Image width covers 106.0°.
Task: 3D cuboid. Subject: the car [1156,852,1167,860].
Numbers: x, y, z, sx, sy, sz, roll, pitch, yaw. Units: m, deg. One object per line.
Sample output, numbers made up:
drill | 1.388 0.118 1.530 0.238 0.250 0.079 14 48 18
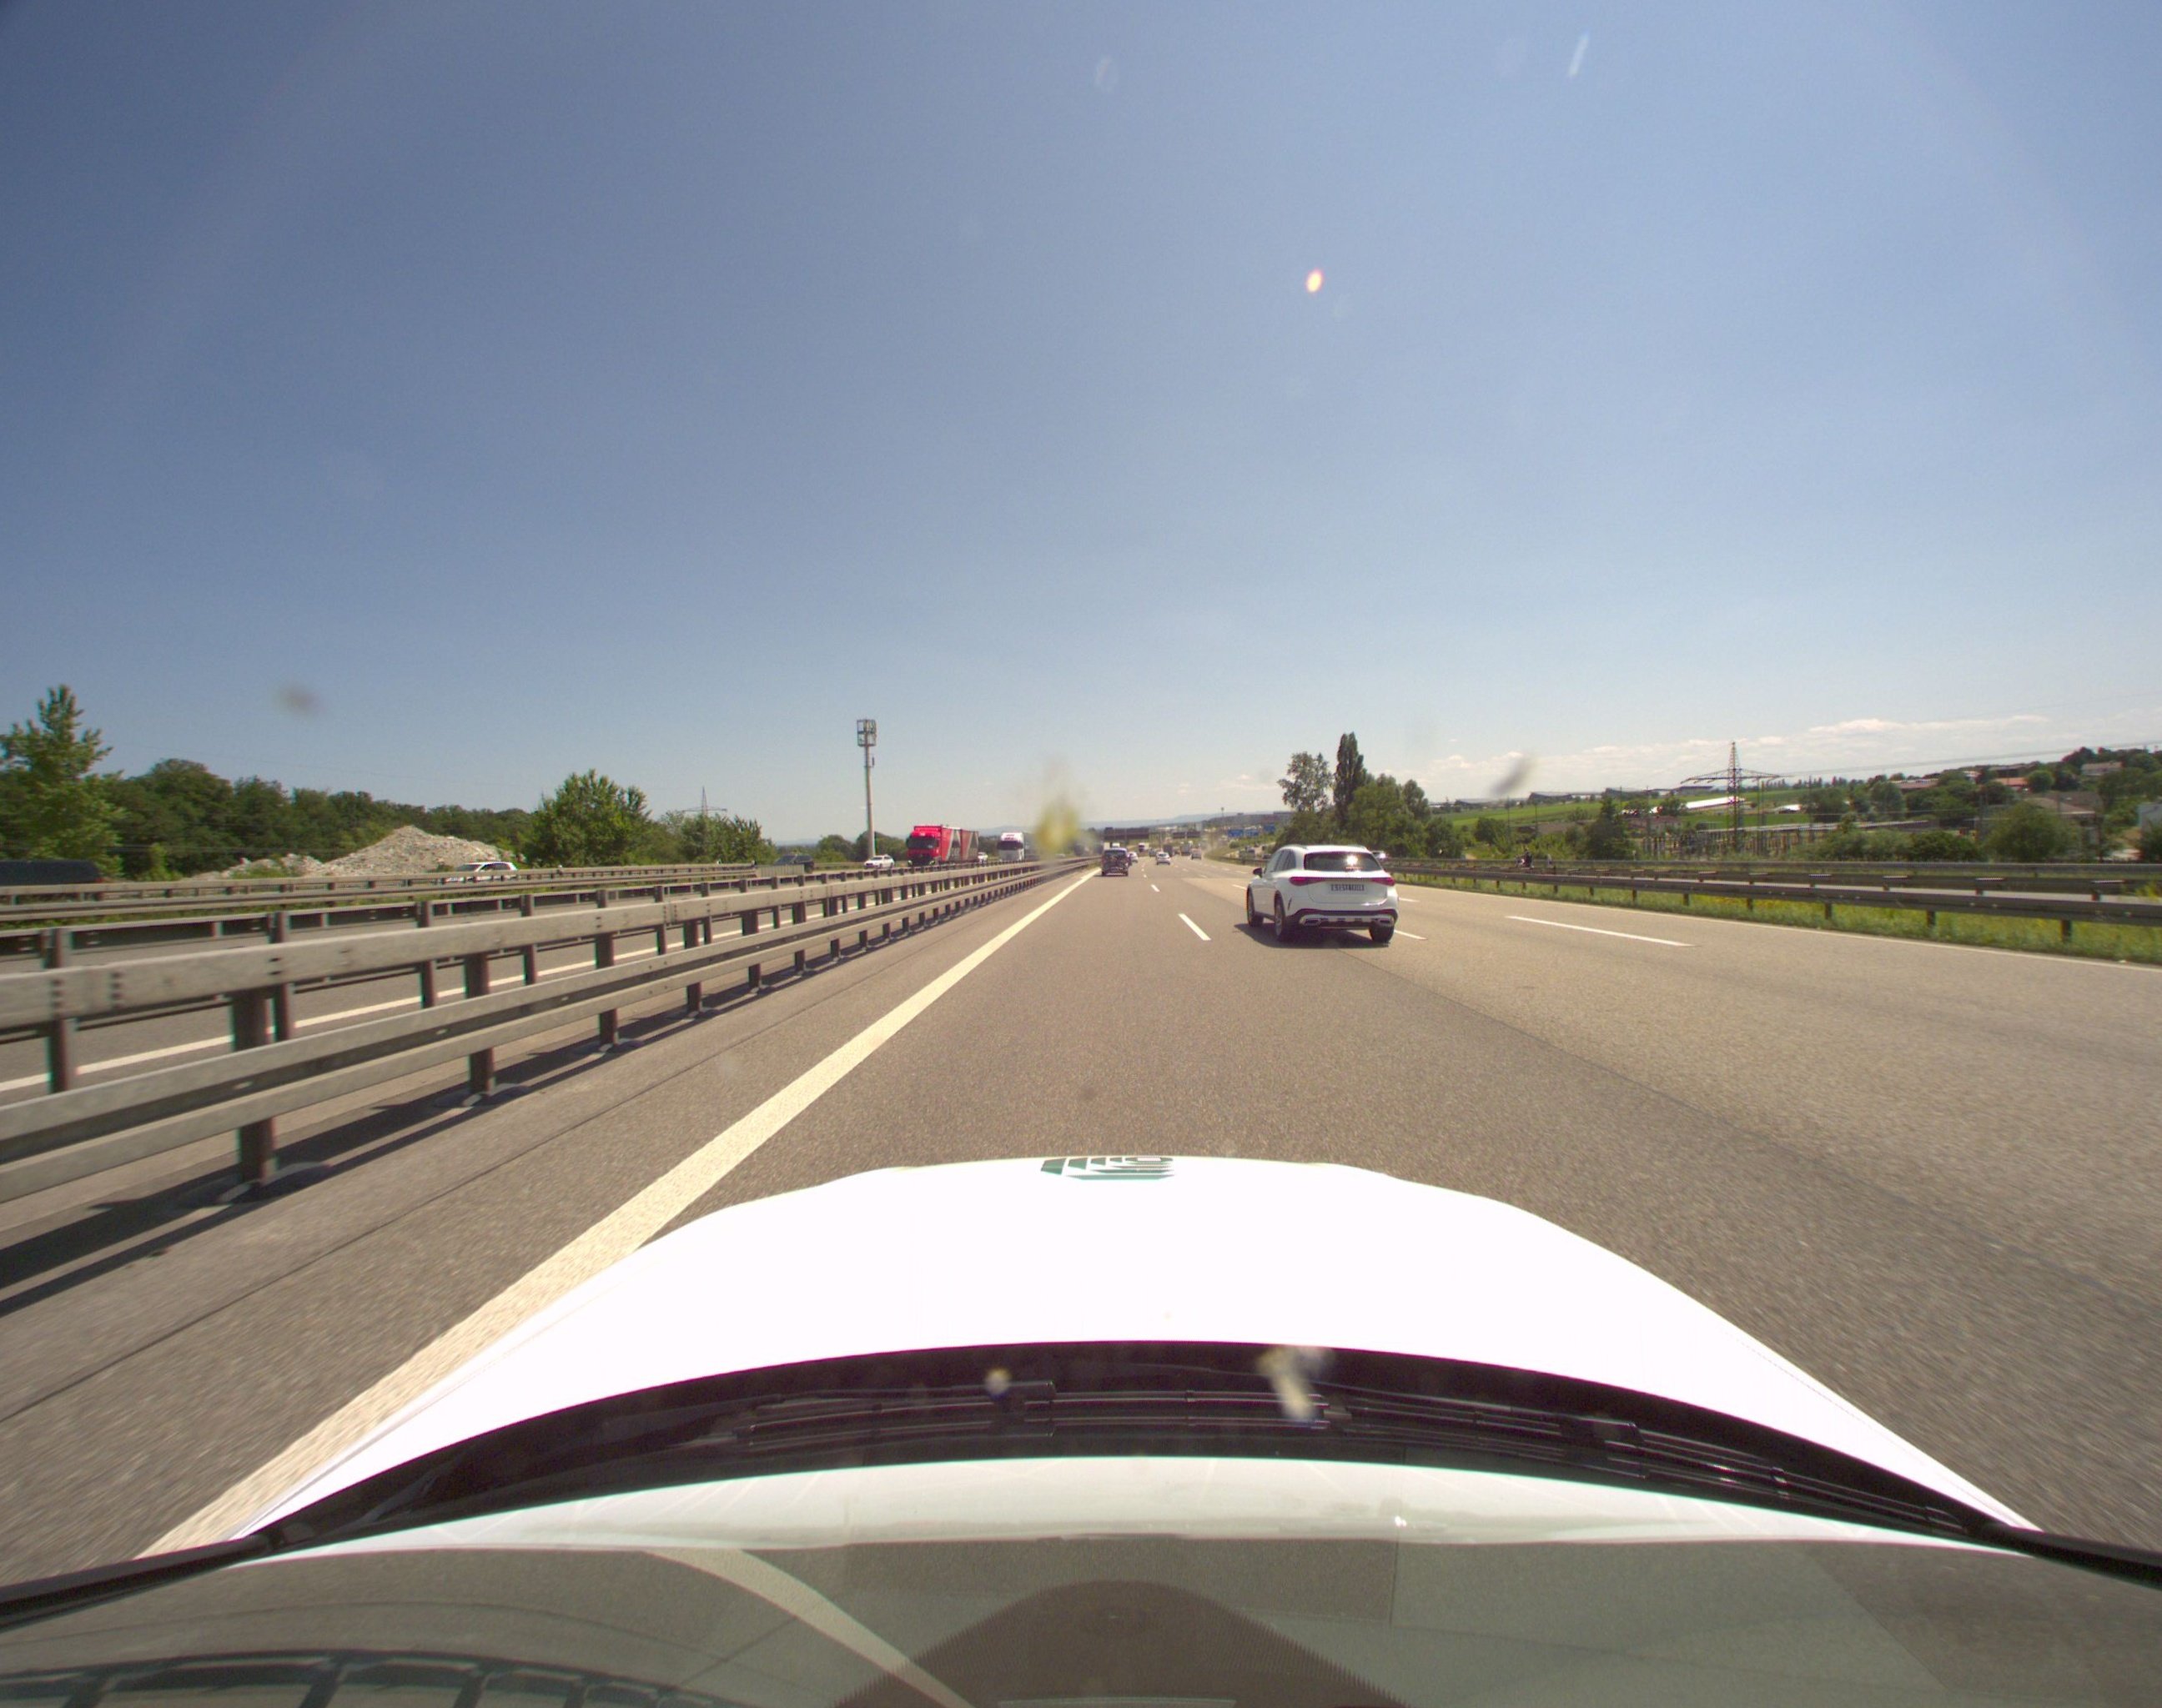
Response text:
car | 15.275 0.358 154.060 1.972 1.473 4.006 -1 0 5

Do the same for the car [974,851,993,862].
car | -15.747 0.413 131.670 1.667 1.613 4.417 -1 0 12

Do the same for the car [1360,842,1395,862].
car | 25.091 -0.166 69.010 1.692 1.575 4.131 0 0 3

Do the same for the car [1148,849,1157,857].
car | 19.496 -0.234 221.941 2.174 2.003 4.009 0 0 8

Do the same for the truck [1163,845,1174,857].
truck | 23.110 -0.841 214.921 2.688 3.108 10.679 0 0 7

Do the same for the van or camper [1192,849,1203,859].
van or camper | 23.217 0.007 162.466 2.145 2.013 4.312 0 0 7

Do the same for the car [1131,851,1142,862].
car | 8.245 0.319 121.010 1.569 1.552 3.967 0 0 3

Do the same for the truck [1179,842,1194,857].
truck | 32.817 -1.558 253.584 4.014 4.261 11.794 -1 2 10

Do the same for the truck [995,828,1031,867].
truck | -7.816 -0.754 94.648 2.913 4.344 6.926 0 0 6

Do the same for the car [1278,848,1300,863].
car | 27.537 0.239 107.926 1.932 1.923 4.179 0 0 1

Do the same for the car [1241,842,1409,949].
car | 4.240 0.641 15.008 1.890 1.647 5.003 0 0 4

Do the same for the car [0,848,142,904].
car | -33.899 0.679 26.523 1.860 1.744 4.005 0 0 5

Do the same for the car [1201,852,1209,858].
car | 34.867 0.395 229.139 1.985 1.690 4.003 0 0 3

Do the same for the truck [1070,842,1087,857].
truck | -0.550 -1.152 208.796 3.204 3.785 12.918 0 0 5

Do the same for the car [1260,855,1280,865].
car | 30.089 0.907 129.899 1.990 1.596 3.993 0 0 -5

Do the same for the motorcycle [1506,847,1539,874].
motorcycle | 23.022 0.313 42.503 0.757 1.366 1.870 0 0 1

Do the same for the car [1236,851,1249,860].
car | 35.027 0.353 176.862 1.986 2.013 4.001 0 0 1

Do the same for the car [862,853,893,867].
car | -22.609 0.641 90.512 2.082 1.581 4.005 0 0 5

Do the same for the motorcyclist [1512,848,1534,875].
motorcyclist | 23.038 0.375 42.435 0.666 1.366 0.879 0 0 1

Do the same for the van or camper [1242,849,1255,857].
van or camper | 43.075 -0.315 209.265 2.520 2.013 4.462 0 0 1

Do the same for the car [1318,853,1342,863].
car | 30.977 0.474 101.257 1.695 1.277 3.998 0 0 -1

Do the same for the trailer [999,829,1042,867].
trailer | -7.262 -0.722 100.517 2.931 4.342 14.642 0 0 5

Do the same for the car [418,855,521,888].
car | -31.988 0.872 42.795 1.860 1.617 4.395 0 0 5

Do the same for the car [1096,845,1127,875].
car | 2.073 0.383 54.049 1.918 1.919 4.953 0 0 4

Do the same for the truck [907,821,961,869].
truck | -13.422 -0.770 75.495 2.571 4.115 10.356 -1 0 3

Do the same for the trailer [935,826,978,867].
trailer | -12.880 -0.744 85.077 2.548 4.105 8.723 0 0 3

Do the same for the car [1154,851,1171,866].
car | 10.215 0.557 101.917 1.918 1.919 4.522 0 0 3
